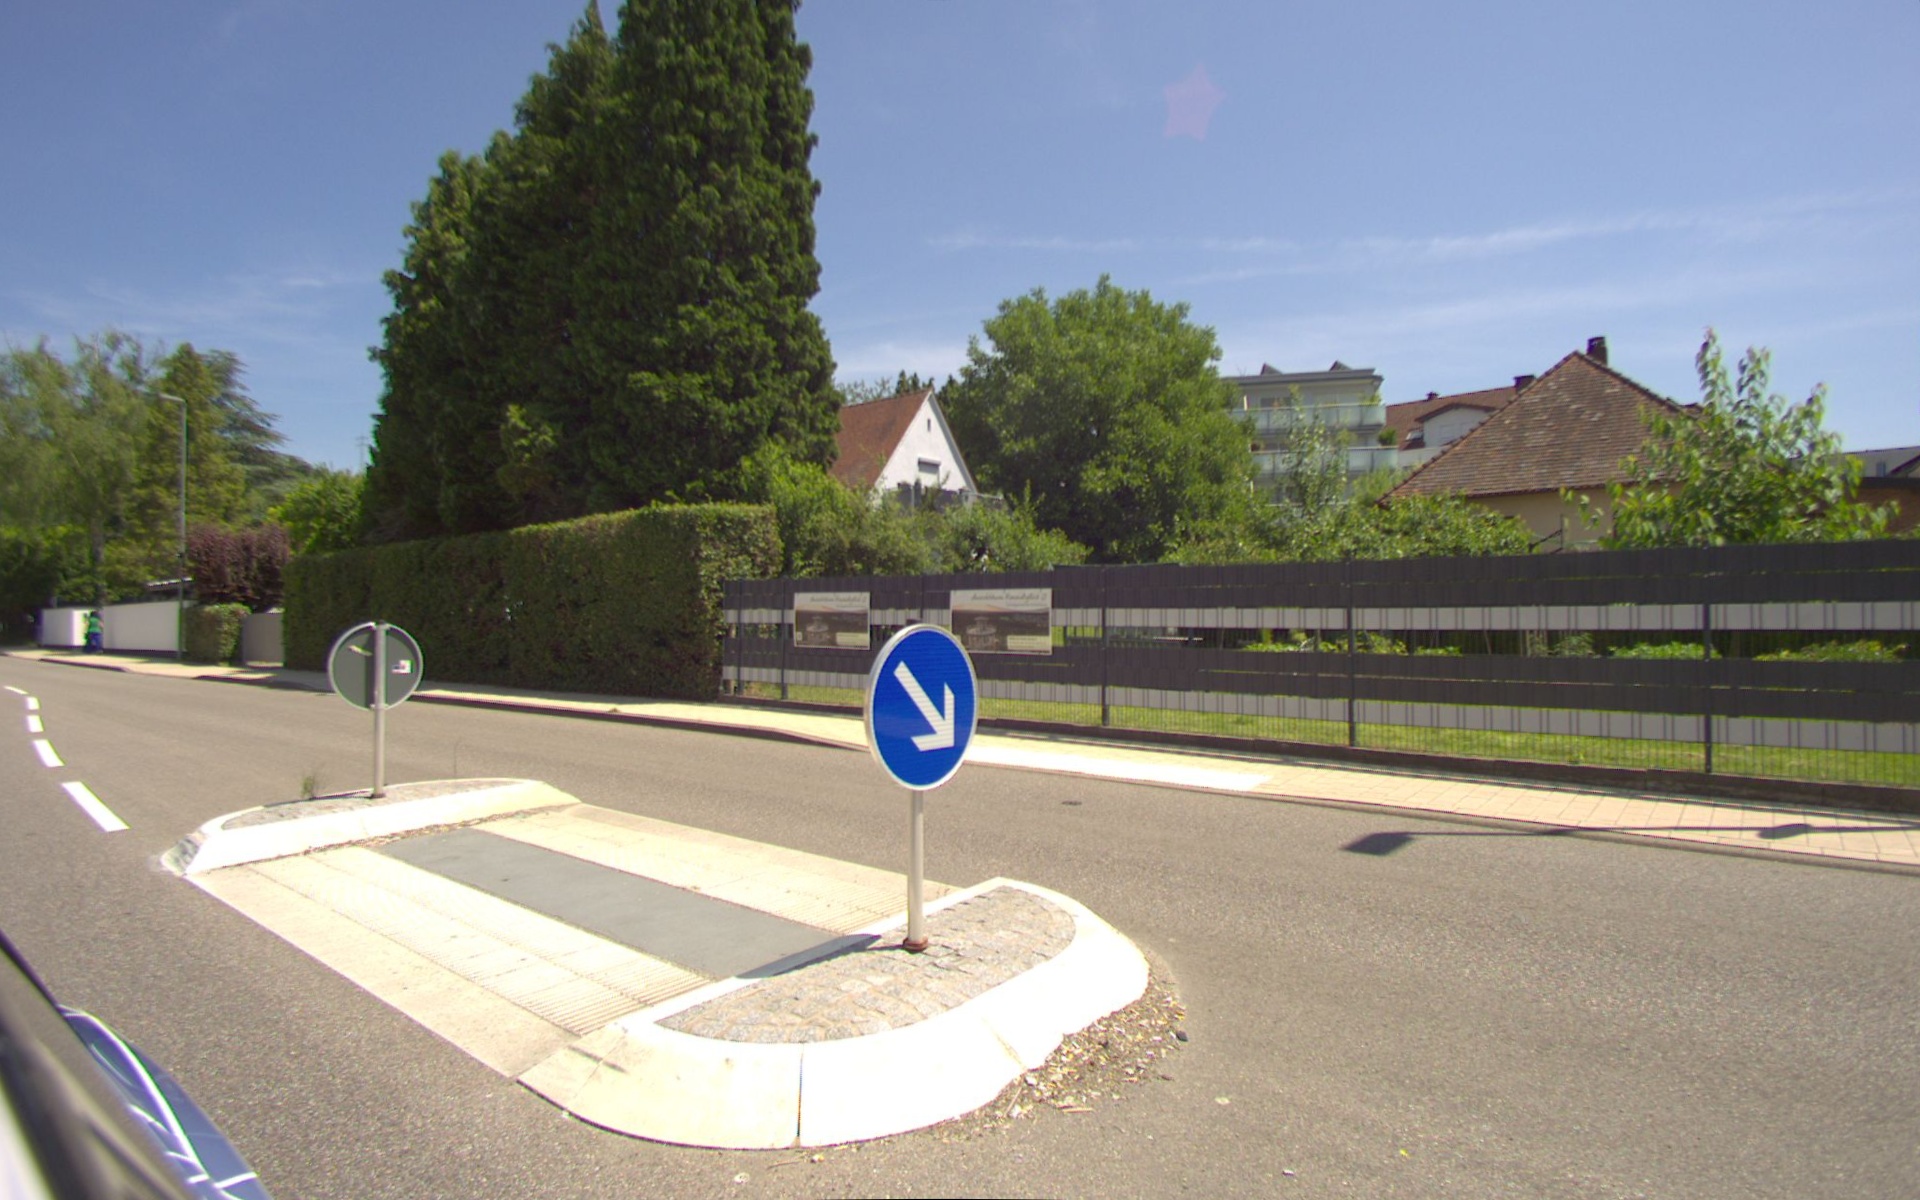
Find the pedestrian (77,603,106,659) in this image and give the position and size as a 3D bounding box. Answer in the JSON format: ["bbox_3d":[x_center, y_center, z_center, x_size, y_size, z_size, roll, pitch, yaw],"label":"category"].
[{"bbox_3d":[-32.295,1.128,37.614,0.804,2.029,0.713,0,1,43],"label":"pedestrian"}]
